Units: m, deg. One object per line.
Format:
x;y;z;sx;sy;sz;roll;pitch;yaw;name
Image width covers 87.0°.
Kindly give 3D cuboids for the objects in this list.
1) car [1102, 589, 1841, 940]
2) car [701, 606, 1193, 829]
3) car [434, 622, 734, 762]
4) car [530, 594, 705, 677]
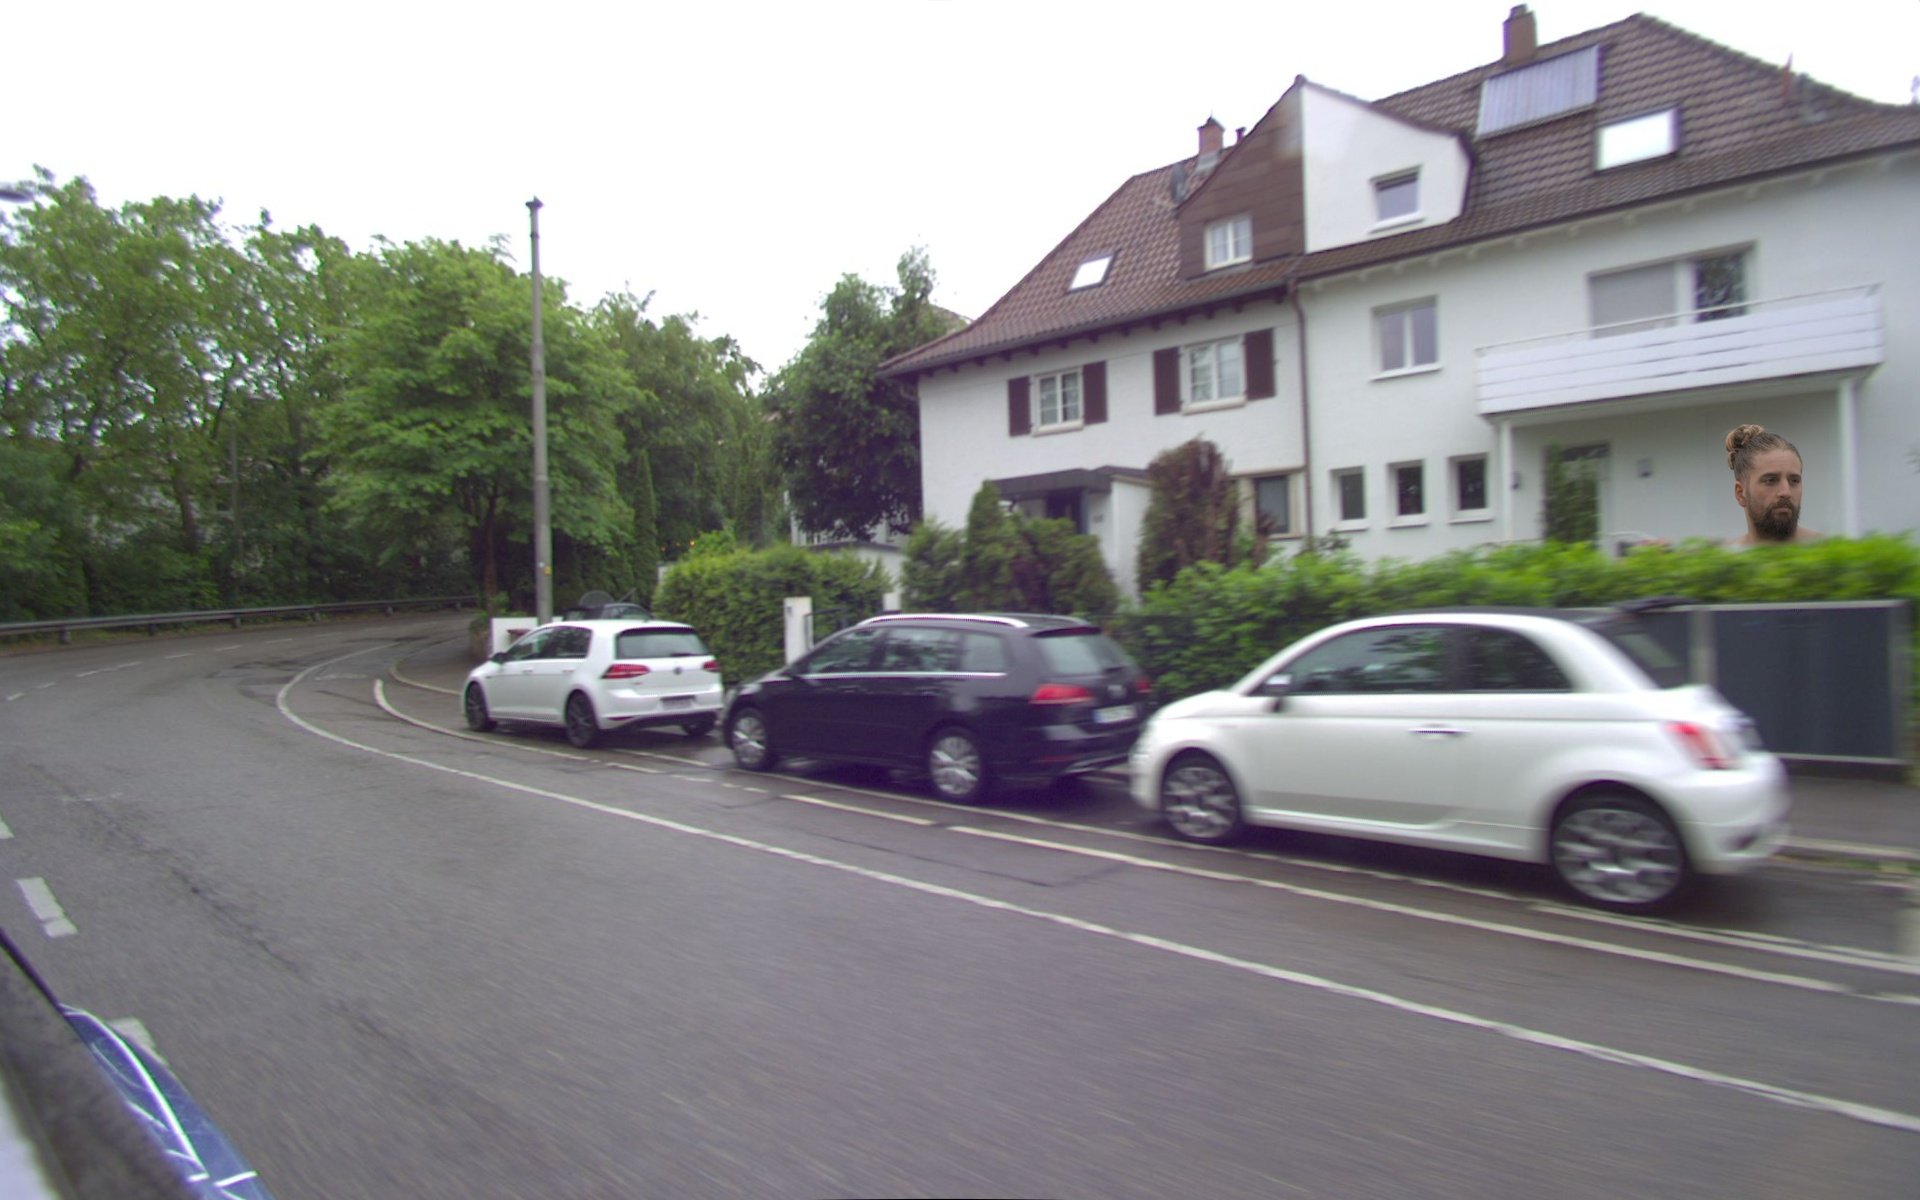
2.877;0.746;6.193;3.712;1.479;1.679;-1;-2;44;car
-0.318;0.860;9.074;4.420;1.536;1.681;-1;-2;41;car
-4.866;1.021;12.786;4.280;1.432;1.715;-1;-1;41;car
-7.779;0.743;23.196;1.820;1.531;3.307;-1;4;37;car
